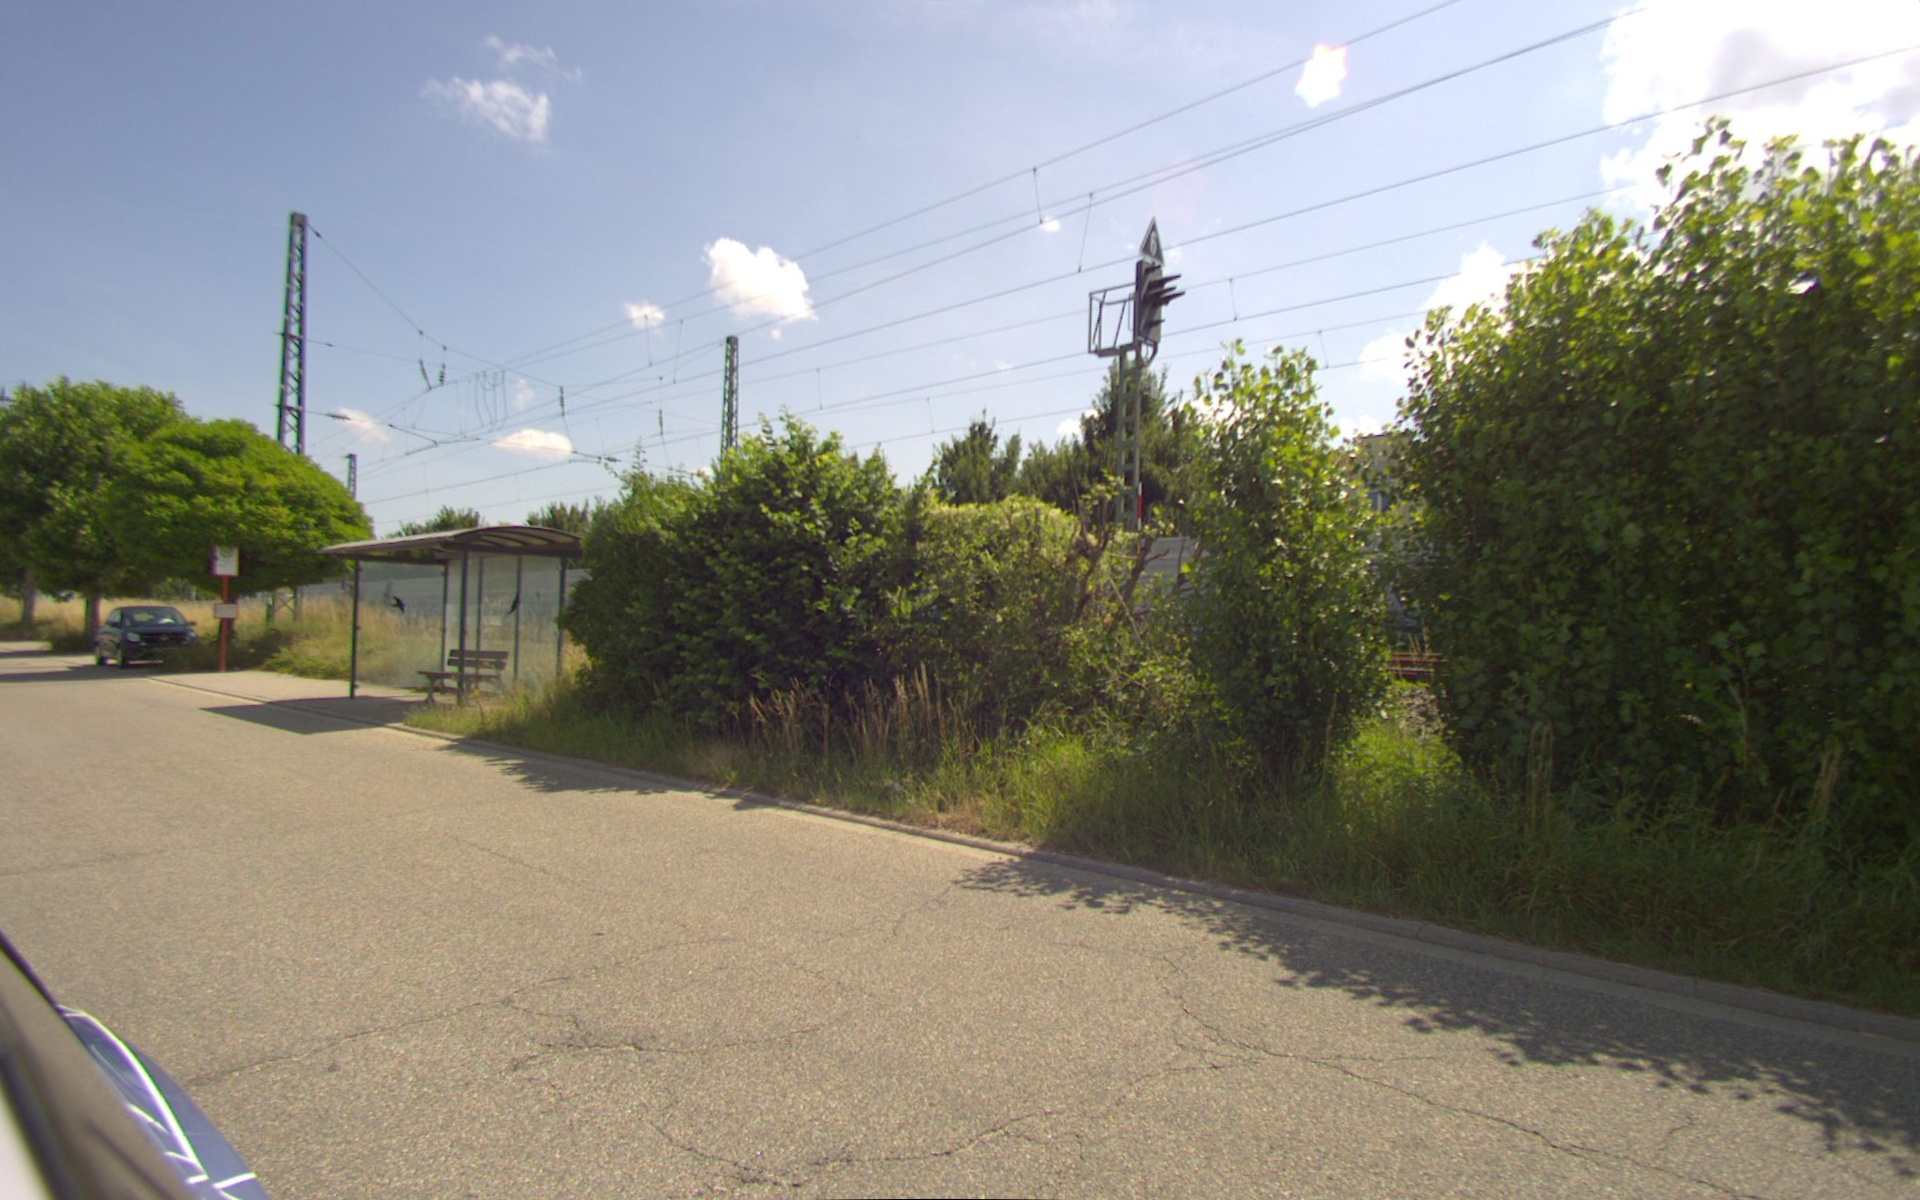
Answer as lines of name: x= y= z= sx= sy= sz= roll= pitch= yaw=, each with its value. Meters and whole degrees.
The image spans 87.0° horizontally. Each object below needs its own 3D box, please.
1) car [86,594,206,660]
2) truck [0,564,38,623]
car: x=-21.220 y=0.677 z=26.340 sx=3.575 sy=1.608 sz=1.724 roll=0 pitch=-1 yaw=39
truck: x=-64.959 y=-0.485 z=66.116 sx=2.659 sy=3.852 sz=6.554 roll=0 pitch=-2 yaw=36
